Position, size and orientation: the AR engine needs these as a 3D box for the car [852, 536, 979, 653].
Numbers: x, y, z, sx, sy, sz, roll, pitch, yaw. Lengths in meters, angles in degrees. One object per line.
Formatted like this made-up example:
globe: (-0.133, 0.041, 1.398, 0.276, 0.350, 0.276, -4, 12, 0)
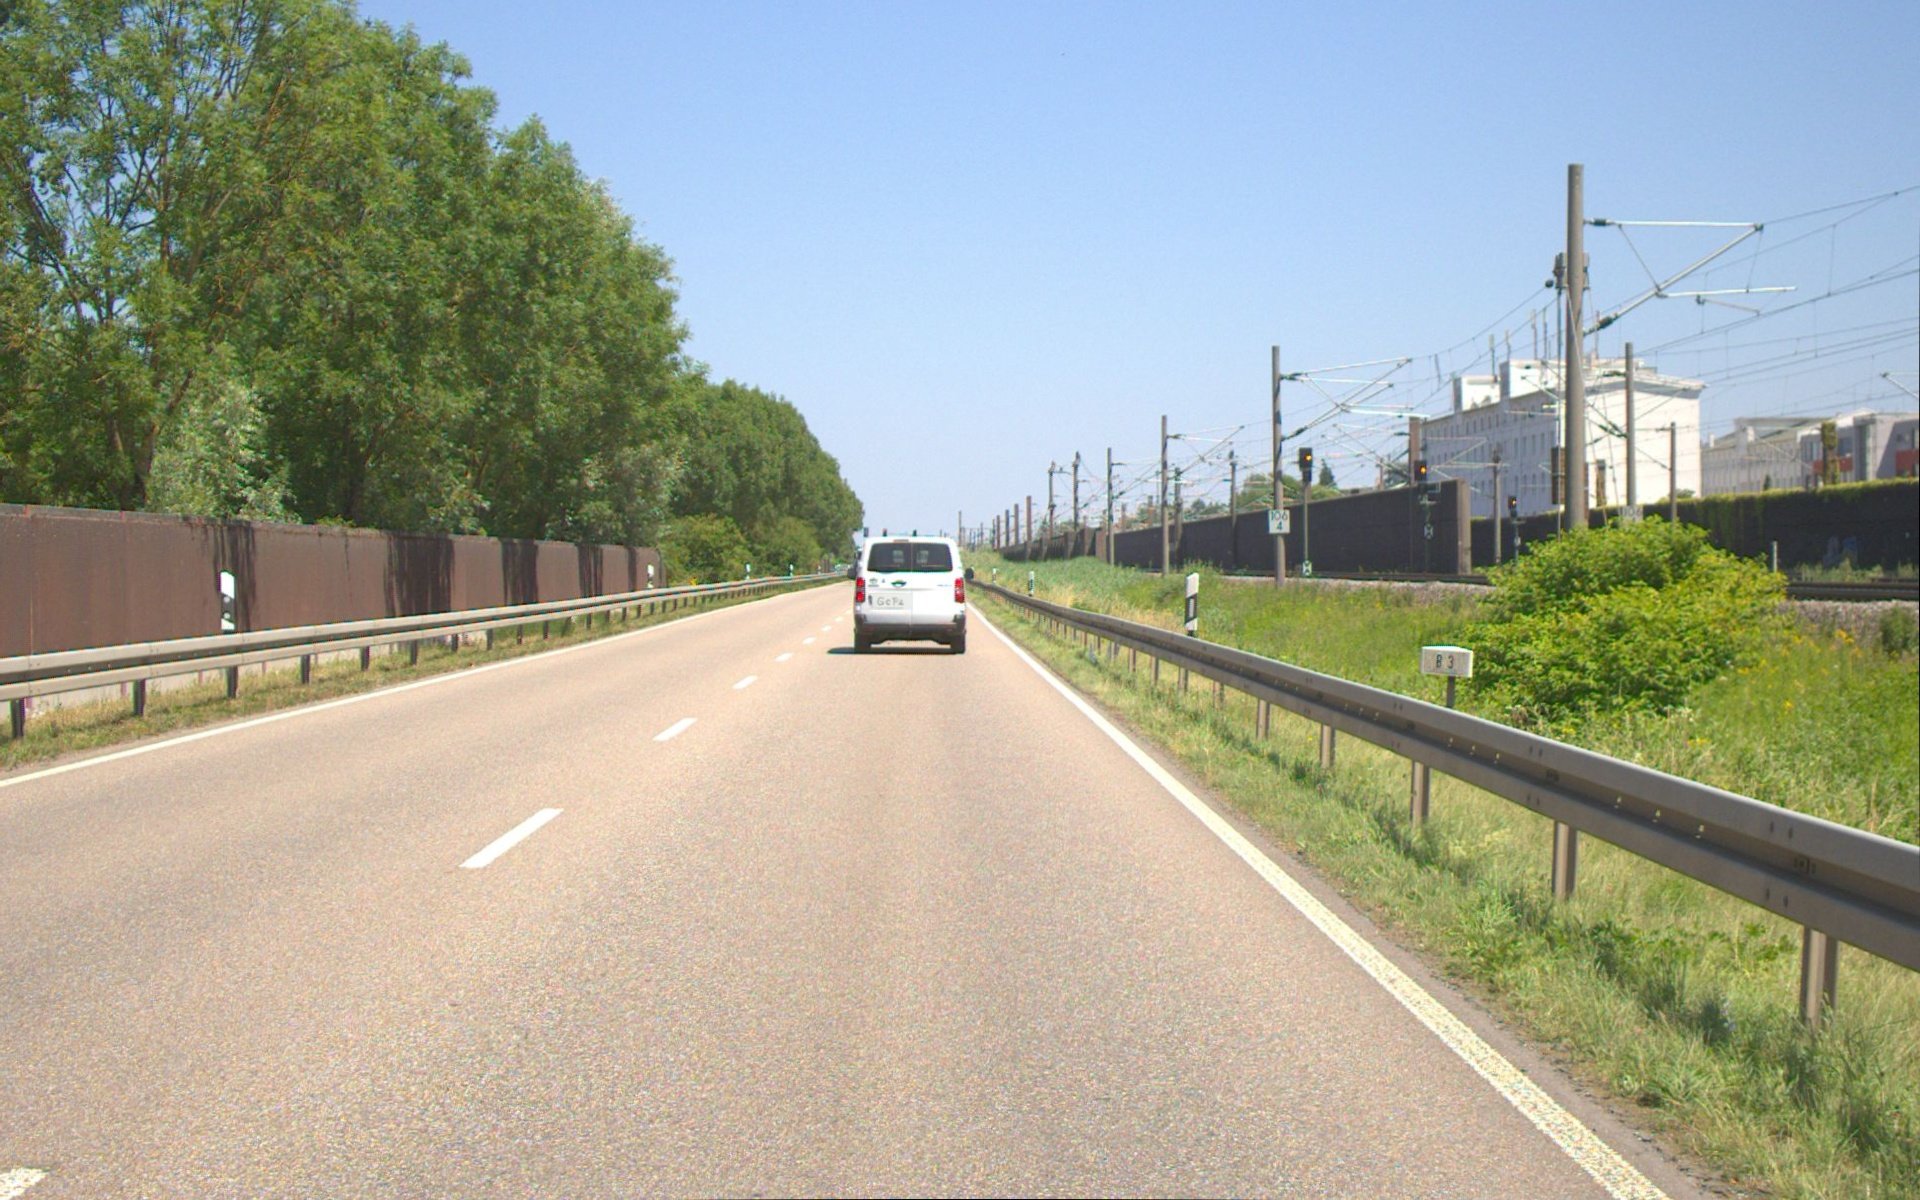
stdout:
car: (-0.744, -0.112, 57.754, 1.993, 1.844, 4.000, 2, 1, -1)
